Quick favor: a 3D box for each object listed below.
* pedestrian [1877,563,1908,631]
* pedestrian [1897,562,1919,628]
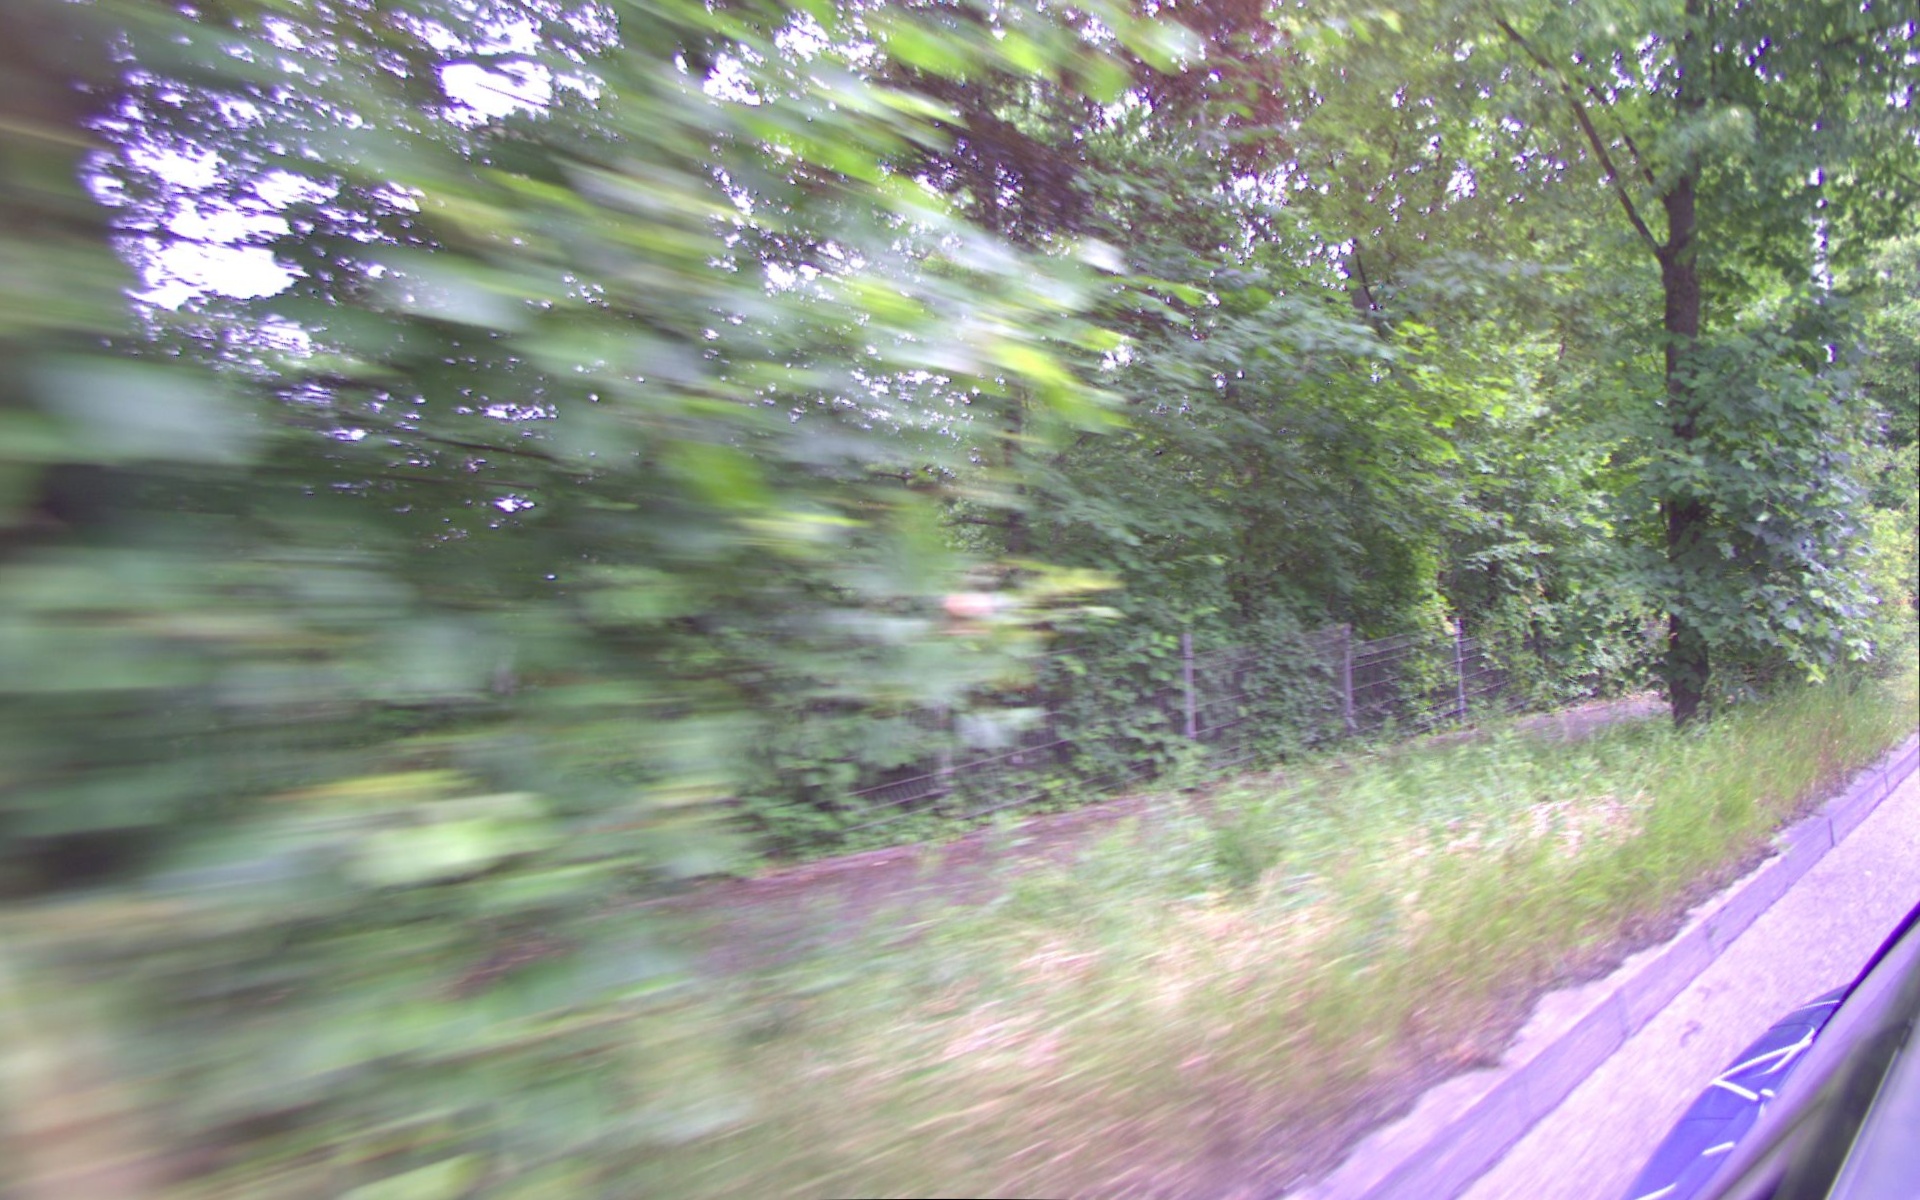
[{"bbox_3d":[24.828,-0.068,26.943,0.516,1.776,0.519,-1,-2,-44],"label":"pedestrian"},{"bbox_3d":[25.502,-0.136,27.019,0.540,1.718,0.609,-1,3,-44],"label":"pedestrian"}]
